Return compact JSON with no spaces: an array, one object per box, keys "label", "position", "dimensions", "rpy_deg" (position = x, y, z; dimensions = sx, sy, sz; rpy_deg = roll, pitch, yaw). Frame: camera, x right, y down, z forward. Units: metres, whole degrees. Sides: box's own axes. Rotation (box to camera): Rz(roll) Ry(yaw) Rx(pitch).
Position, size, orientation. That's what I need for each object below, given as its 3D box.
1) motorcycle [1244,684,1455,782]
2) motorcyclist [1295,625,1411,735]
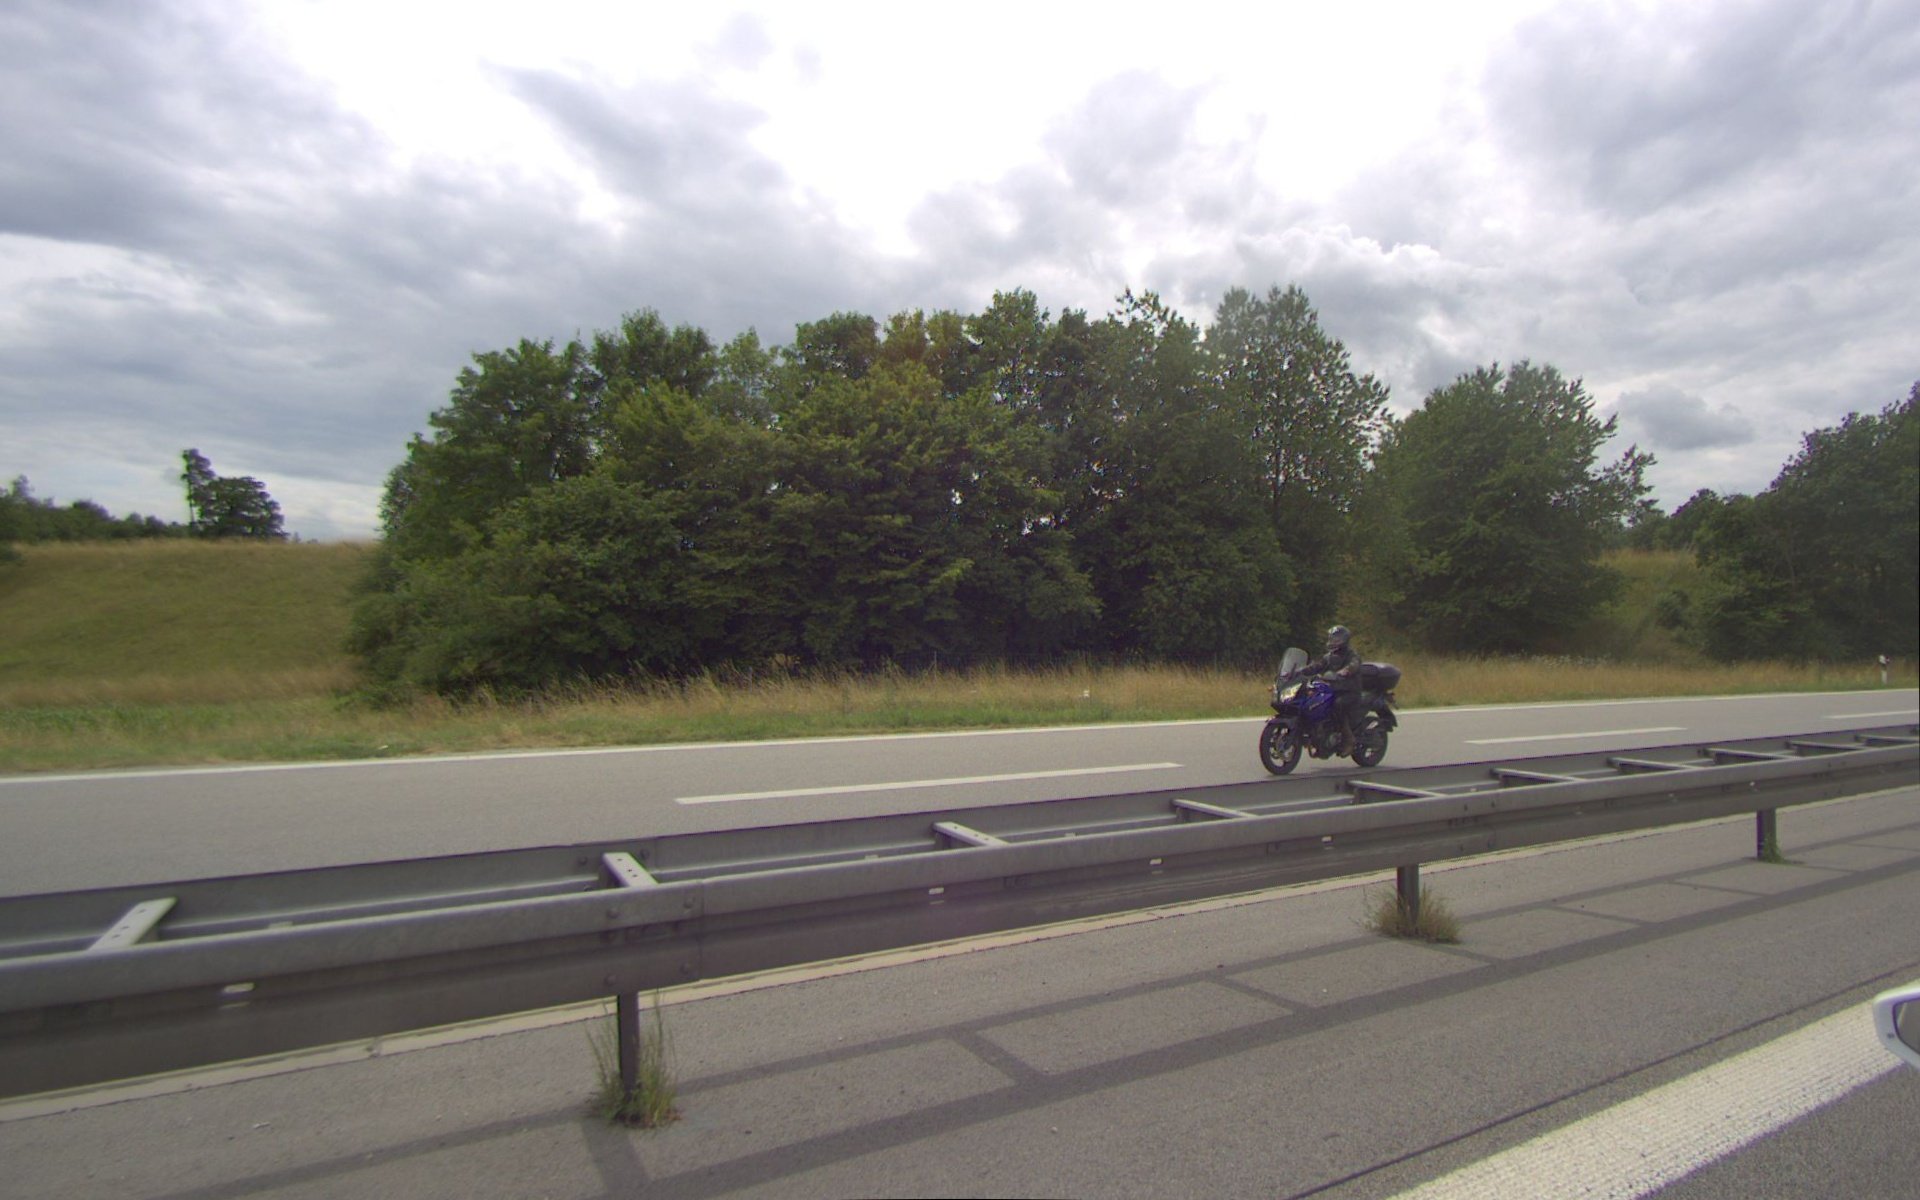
[{"label":"motorcycle","position":[4.681,1.534,11.975],"dimensions":[2.692,0.947,0.851],"rpy_deg":[1,0,-30]},{"label":"motorcyclist","position":[4.672,0.929,11.961],"dimensions":[0.949,1.225,0.857],"rpy_deg":[2,0,-30]}]
